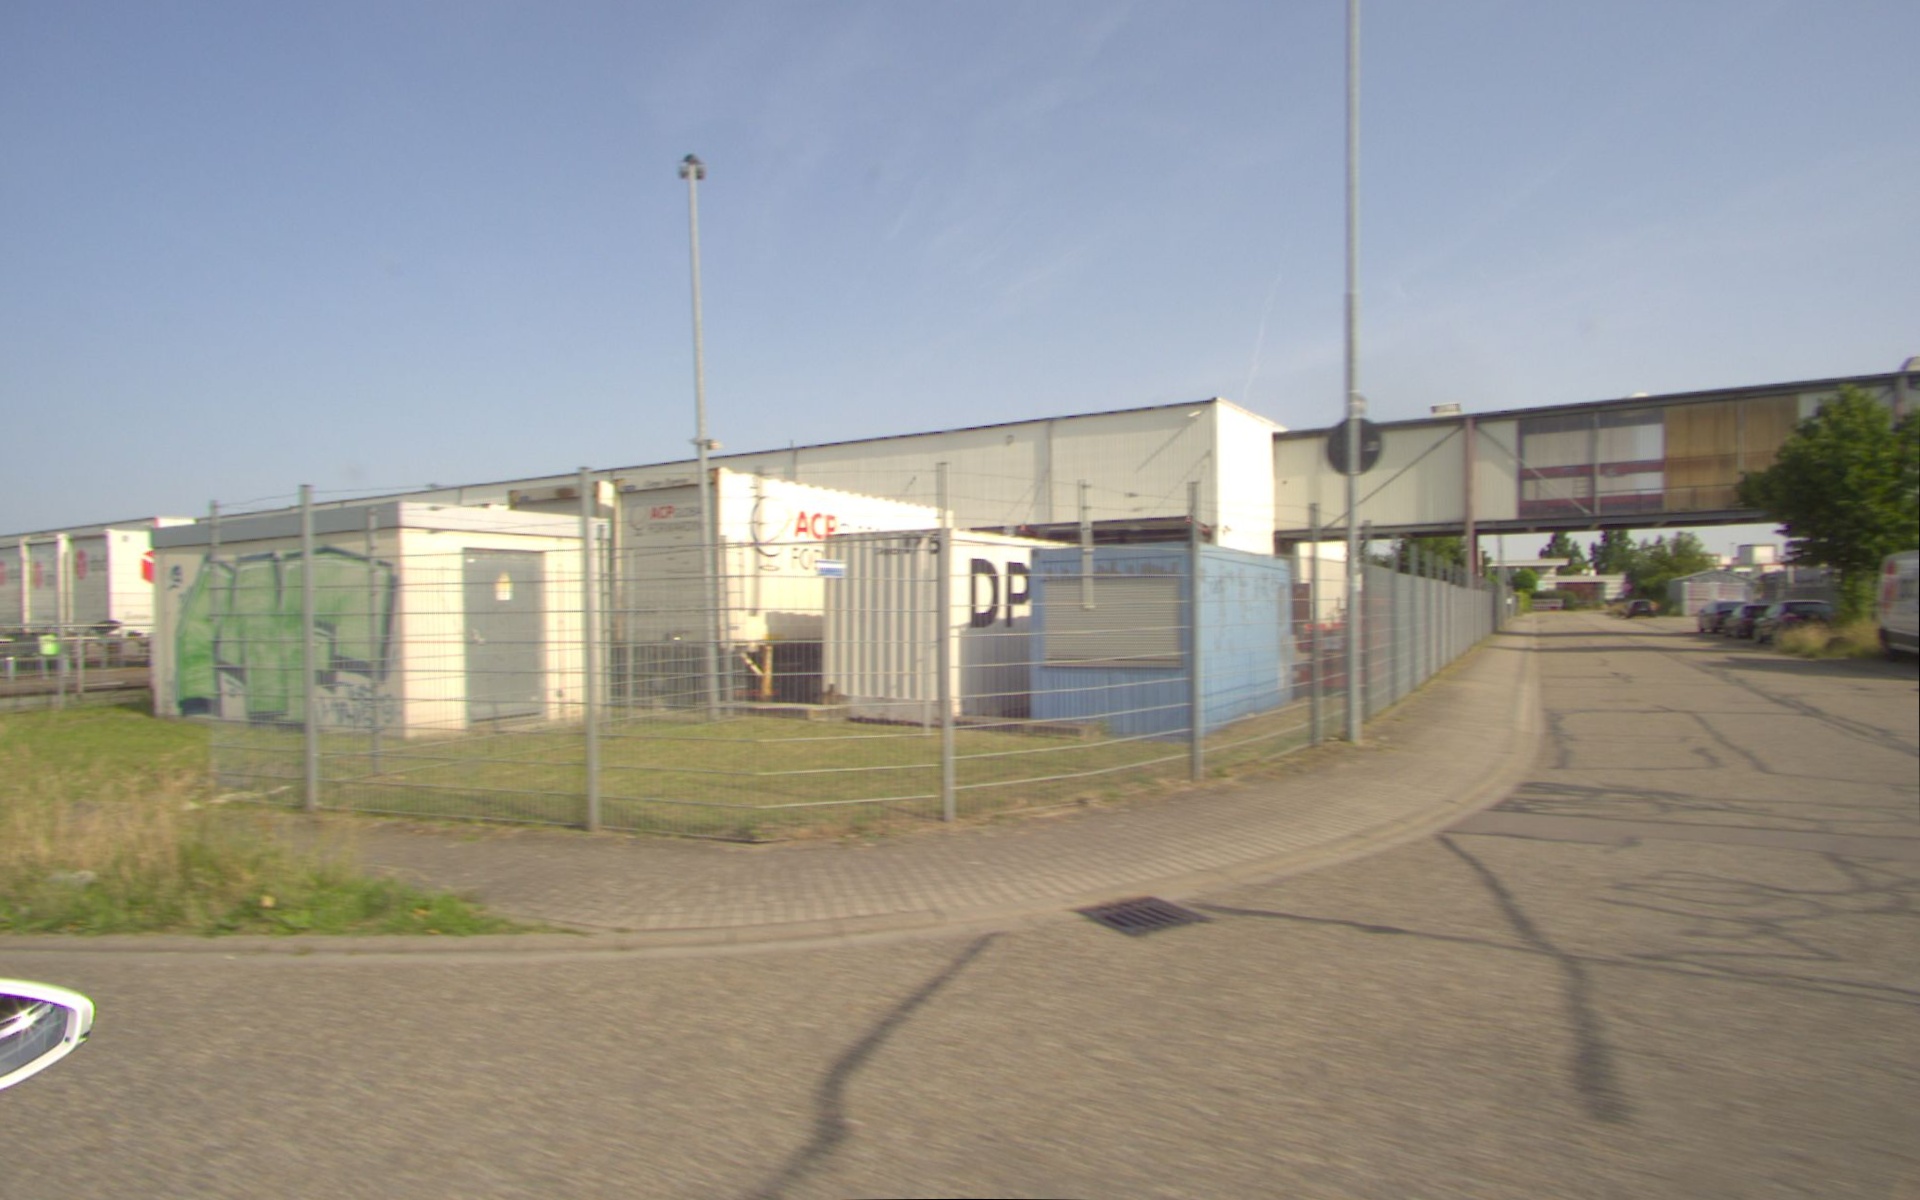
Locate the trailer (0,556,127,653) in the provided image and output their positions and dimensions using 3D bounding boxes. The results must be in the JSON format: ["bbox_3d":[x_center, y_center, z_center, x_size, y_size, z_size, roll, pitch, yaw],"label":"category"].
[{"bbox_3d":[-39.935,0.181,41.412,2.733,3.943,7.959,1,-1,28],"label":"trailer"}]

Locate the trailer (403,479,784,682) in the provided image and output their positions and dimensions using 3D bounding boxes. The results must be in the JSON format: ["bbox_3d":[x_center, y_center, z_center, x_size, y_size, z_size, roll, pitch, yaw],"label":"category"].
[{"bbox_3d":[-7.931,-0.294,23.312,2.748,3.809,8.724,-1,-1,29],"label":"trailer"}]

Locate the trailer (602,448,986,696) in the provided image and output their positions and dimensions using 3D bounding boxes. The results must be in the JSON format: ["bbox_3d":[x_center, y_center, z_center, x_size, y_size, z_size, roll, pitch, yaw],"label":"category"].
[{"bbox_3d":[-2.805,-0.361,20.282,2.736,3.943,8.522,-3,-1,31],"label":"trailer"}]

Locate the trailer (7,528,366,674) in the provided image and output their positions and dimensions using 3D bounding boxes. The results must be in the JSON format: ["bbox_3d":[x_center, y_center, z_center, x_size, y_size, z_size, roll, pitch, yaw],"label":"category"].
[{"bbox_3d":[-23.765,0.161,31.496,2.733,3.943,8.532,1,-1,28],"label":"trailer"}]

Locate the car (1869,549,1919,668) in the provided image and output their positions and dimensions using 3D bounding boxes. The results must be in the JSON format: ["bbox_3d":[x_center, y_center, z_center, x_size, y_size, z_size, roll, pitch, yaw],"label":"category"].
[{"bbox_3d":[21.769,0.136,21.431,2.177,2.515,6.811,-3,-2,32],"label":"car"}]

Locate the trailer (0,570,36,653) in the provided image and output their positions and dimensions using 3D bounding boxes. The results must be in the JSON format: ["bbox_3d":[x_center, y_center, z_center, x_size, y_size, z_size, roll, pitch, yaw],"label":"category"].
[{"bbox_3d":[-48.069,0.428,45.859,2.733,3.943,7.959,1,-1,28],"label":"trailer"}]

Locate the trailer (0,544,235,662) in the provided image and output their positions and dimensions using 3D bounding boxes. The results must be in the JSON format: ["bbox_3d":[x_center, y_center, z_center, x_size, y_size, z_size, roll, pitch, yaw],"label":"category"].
[{"bbox_3d":[-32.014,0.193,36.996,2.733,3.943,8.030,1,-1,28],"label":"trailer"}]

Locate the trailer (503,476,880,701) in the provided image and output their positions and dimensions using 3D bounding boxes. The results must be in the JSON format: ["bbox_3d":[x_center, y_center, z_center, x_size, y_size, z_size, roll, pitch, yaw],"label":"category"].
[{"bbox_3d":[-5.317,-0.237,21.955,2.734,3.946,8.522,0,1,30],"label":"trailer"}]

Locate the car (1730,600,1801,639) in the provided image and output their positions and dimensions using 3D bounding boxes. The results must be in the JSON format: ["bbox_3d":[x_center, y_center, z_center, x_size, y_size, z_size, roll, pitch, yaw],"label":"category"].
[{"bbox_3d":[30.922,0.732,38.529,1.703,1.405,3.764,0,0,33],"label":"car"}]

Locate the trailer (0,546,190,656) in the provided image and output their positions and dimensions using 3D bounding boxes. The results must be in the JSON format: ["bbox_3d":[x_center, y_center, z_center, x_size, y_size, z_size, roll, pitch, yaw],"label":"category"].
[{"bbox_3d":[-34.688,0.100,38.223,2.733,3.943,7.959,1,-1,28],"label":"trailer"}]

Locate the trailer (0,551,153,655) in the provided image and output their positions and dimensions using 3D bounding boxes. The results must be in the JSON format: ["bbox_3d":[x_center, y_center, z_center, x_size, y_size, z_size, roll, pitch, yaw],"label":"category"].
[{"bbox_3d":[-37.330,0.144,39.586,2.733,3.943,7.959,1,-1,28],"label":"trailer"}]

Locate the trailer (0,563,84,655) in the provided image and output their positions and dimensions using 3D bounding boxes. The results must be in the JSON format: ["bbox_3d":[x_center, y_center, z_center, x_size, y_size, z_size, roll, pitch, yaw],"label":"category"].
[{"bbox_3d":[-42.766,0.326,42.468,2.733,3.943,7.959,1,-1,28],"label":"trailer"}]

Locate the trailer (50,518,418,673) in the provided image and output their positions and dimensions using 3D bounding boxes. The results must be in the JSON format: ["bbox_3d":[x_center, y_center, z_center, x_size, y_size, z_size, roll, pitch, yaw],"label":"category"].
[{"bbox_3d":[-21.127,0.026,29.941,2.733,3.943,8.532,1,-1,28],"label":"trailer"}]

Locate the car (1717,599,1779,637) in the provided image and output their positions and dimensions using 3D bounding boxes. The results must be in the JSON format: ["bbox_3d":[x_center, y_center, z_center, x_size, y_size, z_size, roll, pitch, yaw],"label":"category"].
[{"bbox_3d":[33.617,0.736,42.791,1.703,1.544,3.764,0,0,33],"label":"car"}]

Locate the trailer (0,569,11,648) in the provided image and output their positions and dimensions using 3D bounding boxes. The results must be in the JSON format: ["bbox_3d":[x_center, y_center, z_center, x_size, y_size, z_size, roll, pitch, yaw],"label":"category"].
[{"bbox_3d":[-50.929,0.293,47.575,2.733,3.943,7.959,1,-1,28],"label":"trailer"}]

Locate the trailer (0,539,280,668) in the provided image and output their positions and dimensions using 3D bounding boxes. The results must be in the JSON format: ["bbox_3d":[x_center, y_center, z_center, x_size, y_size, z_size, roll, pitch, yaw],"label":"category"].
[{"bbox_3d":[-28.813,0.236,34.722,2.733,3.943,8.304,1,-1,28],"label":"trailer"}]

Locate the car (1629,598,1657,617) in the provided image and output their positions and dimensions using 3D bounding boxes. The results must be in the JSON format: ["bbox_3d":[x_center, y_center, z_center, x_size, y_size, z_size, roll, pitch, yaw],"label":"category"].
[{"bbox_3d":[55.311,0.588,81.119,1.703,1.544,3.764,0,0,33],"label":"car"}]

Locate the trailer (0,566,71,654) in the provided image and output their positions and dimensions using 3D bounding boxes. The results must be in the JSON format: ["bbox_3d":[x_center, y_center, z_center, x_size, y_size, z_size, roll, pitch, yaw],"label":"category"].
[{"bbox_3d":[-45.278,0.396,44.637,2.733,3.943,7.959,1,-1,28],"label":"trailer"}]

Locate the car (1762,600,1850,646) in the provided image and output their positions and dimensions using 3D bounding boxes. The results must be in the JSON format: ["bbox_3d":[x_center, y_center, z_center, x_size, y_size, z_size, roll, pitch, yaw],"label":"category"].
[{"bbox_3d":[27.868,0.712,33.092,1.703,1.405,3.764,0,0,33],"label":"car"}]

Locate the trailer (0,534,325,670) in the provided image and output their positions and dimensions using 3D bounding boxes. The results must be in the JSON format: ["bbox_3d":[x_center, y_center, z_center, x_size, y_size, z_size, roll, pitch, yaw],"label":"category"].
[{"bbox_3d":[-26.188,0.197,33.234,2.733,3.943,8.304,1,-1,28],"label":"trailer"}]
